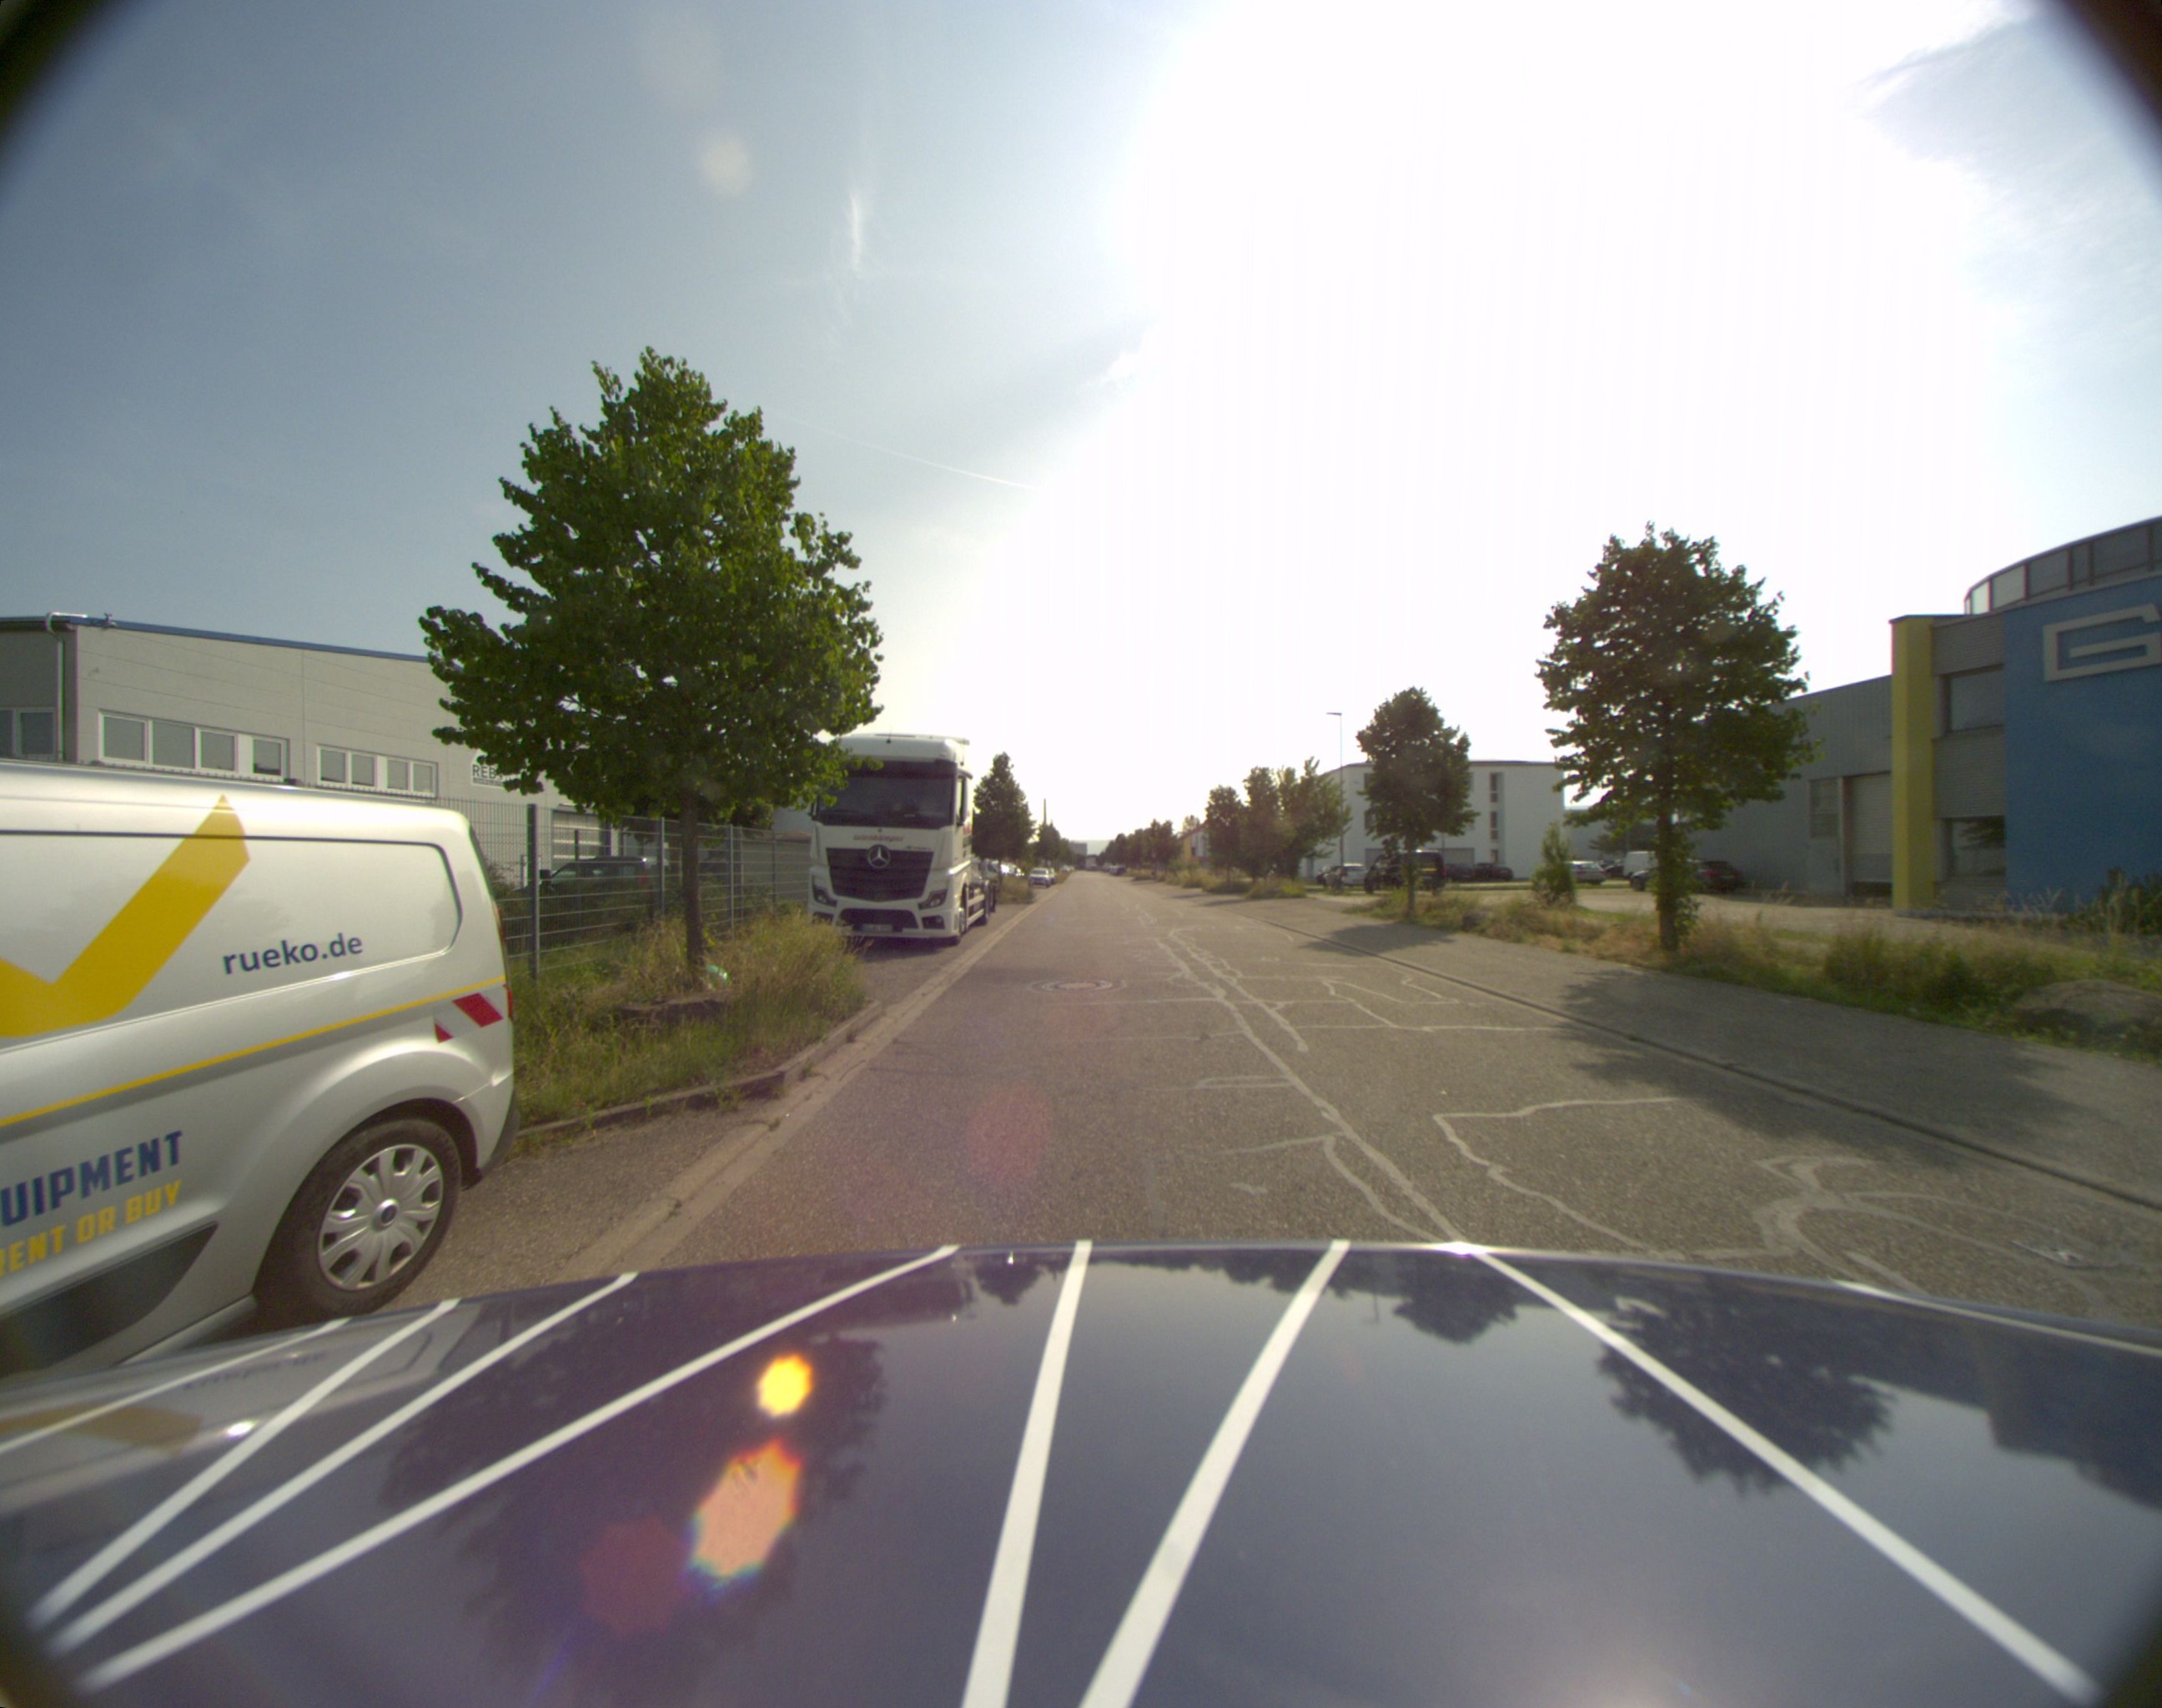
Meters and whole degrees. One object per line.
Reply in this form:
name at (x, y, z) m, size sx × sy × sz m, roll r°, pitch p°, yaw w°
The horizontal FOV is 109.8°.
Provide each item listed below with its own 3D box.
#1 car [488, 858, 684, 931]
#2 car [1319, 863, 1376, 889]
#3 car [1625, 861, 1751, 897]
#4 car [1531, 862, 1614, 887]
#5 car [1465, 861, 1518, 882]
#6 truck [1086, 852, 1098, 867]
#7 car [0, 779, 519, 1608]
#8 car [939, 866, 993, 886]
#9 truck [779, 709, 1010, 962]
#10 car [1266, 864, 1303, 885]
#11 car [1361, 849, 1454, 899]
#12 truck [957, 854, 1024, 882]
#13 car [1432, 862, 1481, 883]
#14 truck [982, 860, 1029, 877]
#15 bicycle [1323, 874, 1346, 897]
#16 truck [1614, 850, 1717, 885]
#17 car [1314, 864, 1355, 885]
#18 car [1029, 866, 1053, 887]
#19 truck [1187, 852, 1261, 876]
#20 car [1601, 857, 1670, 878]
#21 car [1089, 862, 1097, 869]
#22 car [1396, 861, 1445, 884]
car at (-13.482, 1.075, 20.882) m, size 4.100 × 1.824 × 1.912 m, roll -1°, pitch 0°, yaw -1°
car at (15.217, 1.223, 43.526) m, size 1.790 × 1.441 × 3.918 m, roll -1°, pitch -1°, yaw -2°
car at (26.515, 1.052, 33.431) m, size 1.719 × 1.452 × 4.782 m, roll -1°, pitch -1°, yaw 0°
car at (28.110, 1.138, 43.649) m, size 1.737 × 1.364 × 4.382 m, roll -1°, pitch -1°, yaw -3°
car at (29.680, 1.219, 55.024) m, size 1.759 × 1.459 × 3.919 m, roll -1°, pitch -1°, yaw 1°
truck at (3.273, 1.654, 227.783) m, size 3.413 × 4.017 × 10.395 m, roll -2°, pitch -1°, yaw 0°
car at (-3.351, 0.749, 0.788) m, size 1.998 × 1.779 × 4.600 m, roll -1°, pitch 0°, yaw 1°
car at (-8.946, 1.675, 59.004) m, size 3.989 × 1.489 × 1.902 m, roll -1°, pitch -1°, yaw 36°
truck at (-3.436, -0.230, 17.031) m, size 2.753 × 3.991 × 9.686 m, roll 1°, pitch -1°, yaw 0°
car at (14.910, 1.487, 55.829) m, size 1.759 × 1.401 × 3.919 m, roll -1°, pitch -1°, yaw 1°
car at (14.041, 0.848, 33.046) m, size 1.886 × 2.001 × 4.992 m, roll 0°, pitch -1°, yaw 0°
truck at (-8.492, 1.285, 71.123) m, size 6.194 × 2.515 × 2.280 m, roll 0°, pitch 0°, yaw 33°
car at (27.291, 1.343, 55.359) m, size 1.759 × 1.459 × 3.919 m, roll -1°, pitch -1°, yaw 1°
truck at (-9.252, 1.769, 92.803) m, size 5.815 × 2.009 × 2.280 m, roll -1°, pitch -1°, yaw 38°
bicycle at (11.259, 1.395, 33.783) m, size 0.541 × 0.973 × 1.871 m, roll -1°, pitch -1°, yaw 4°
truck at (33.766, 0.787, 44.111) m, size 1.999 × 1.892 × 4.952 m, roll -1°, pitch -1°, yaw -3°
car at (18.541, 1.465, 55.714) m, size 1.759 × 1.459 × 3.919 m, roll -1°, pitch -1°, yaw 1°
car at (-3.064, 1.720, 59.125) m, size 1.668 × 1.495 × 3.541 m, roll 1°, pitch -1°, yaw 0°
truck at (18.018, 1.281, 95.763) m, size 8.850 × 2.816 × 2.511 m, roll 2°, pitch 0°, yaw -16°
car at (40.332, 0.959, 55.384) m, size 1.759 × 1.459 × 4.564 m, roll -1°, pitch -1°, yaw 1°
car at (2.812, 2.595, 174.982) m, size 1.668 × 1.495 × 3.540 m, roll -1°, pitch 1°, yaw 0°
car at (24.722, 1.325, 55.423) m, size 1.910 × 1.609 × 3.919 m, roll -1°, pitch -1°, yaw 1°
